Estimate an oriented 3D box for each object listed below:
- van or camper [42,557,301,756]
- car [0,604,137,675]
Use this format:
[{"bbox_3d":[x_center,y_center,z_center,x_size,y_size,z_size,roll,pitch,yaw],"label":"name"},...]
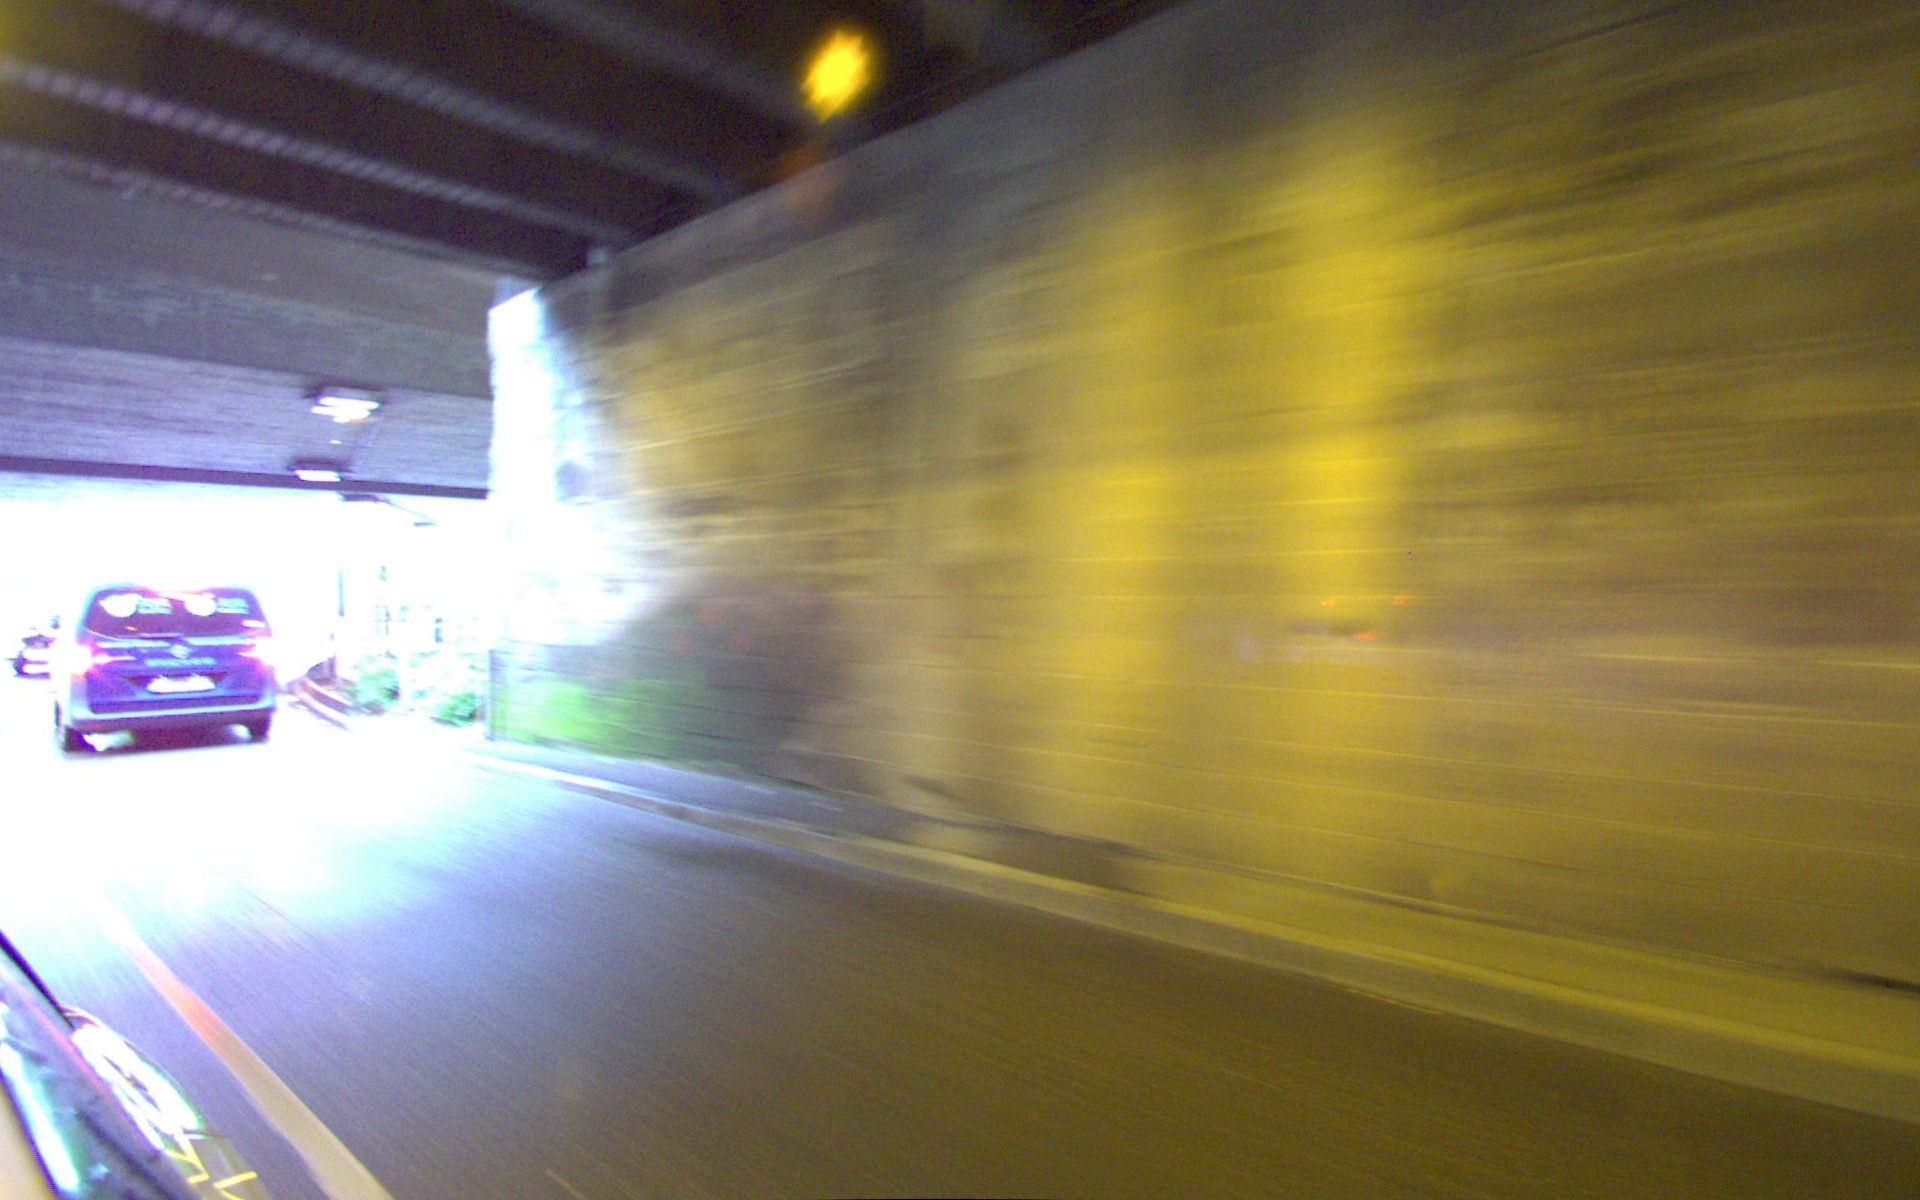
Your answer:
[{"bbox_3d":[-9.612,0.549,12.136,1.970,1.882,5.144,1,-1,-43],"label":"van or camper"},{"bbox_3d":[-21.586,0.967,24.500,1.679,1.569,4.013,1,-3,-26],"label":"car"}]
